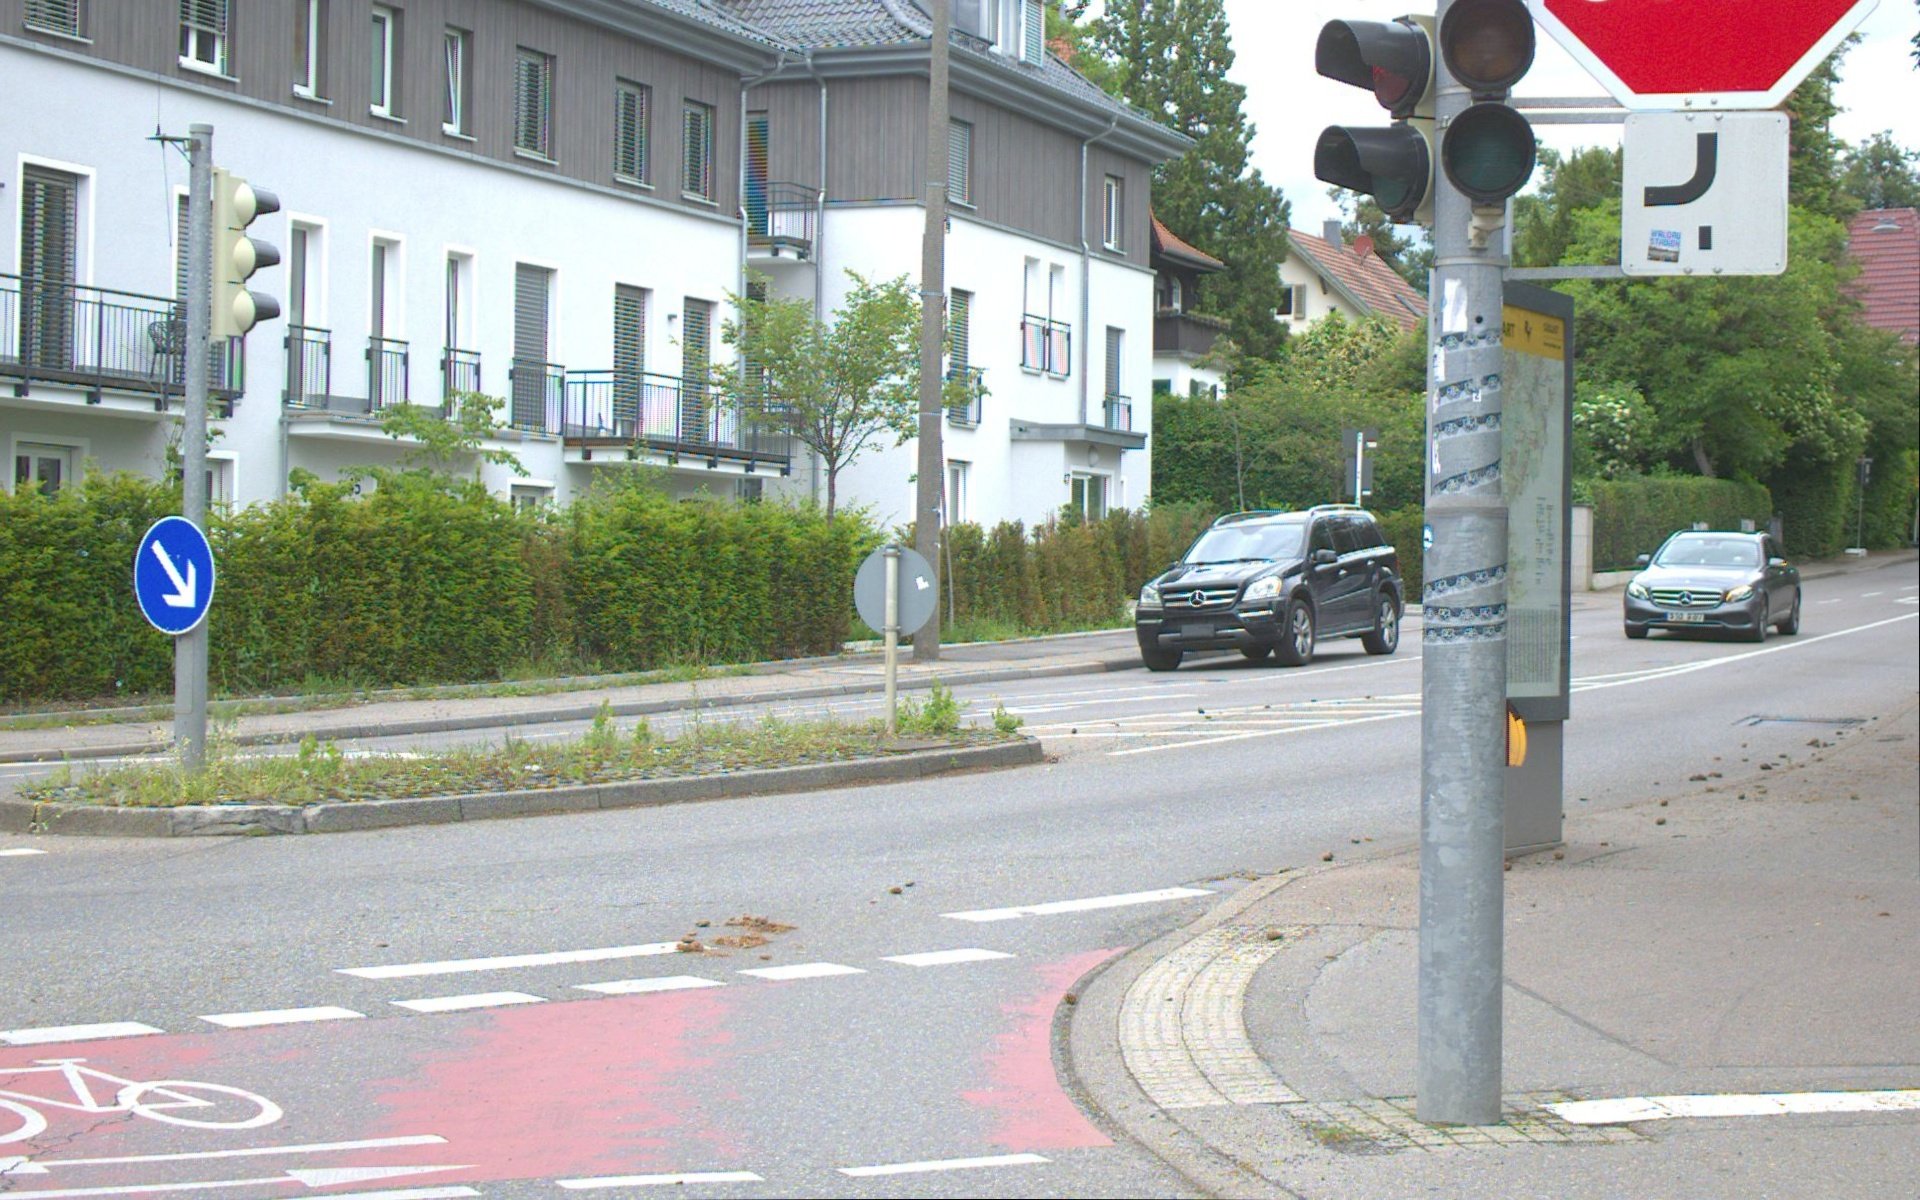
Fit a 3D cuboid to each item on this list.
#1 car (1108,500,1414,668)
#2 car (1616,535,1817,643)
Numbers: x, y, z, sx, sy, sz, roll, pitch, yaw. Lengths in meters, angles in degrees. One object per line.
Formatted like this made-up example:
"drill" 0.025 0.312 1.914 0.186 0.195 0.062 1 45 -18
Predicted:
"car" 3.682 -0.198 41.109 1.915 1.874 5.134 -1 0 26
"car" 10.580 -0.192 47.838 1.941 1.399 4.737 1 2 22
